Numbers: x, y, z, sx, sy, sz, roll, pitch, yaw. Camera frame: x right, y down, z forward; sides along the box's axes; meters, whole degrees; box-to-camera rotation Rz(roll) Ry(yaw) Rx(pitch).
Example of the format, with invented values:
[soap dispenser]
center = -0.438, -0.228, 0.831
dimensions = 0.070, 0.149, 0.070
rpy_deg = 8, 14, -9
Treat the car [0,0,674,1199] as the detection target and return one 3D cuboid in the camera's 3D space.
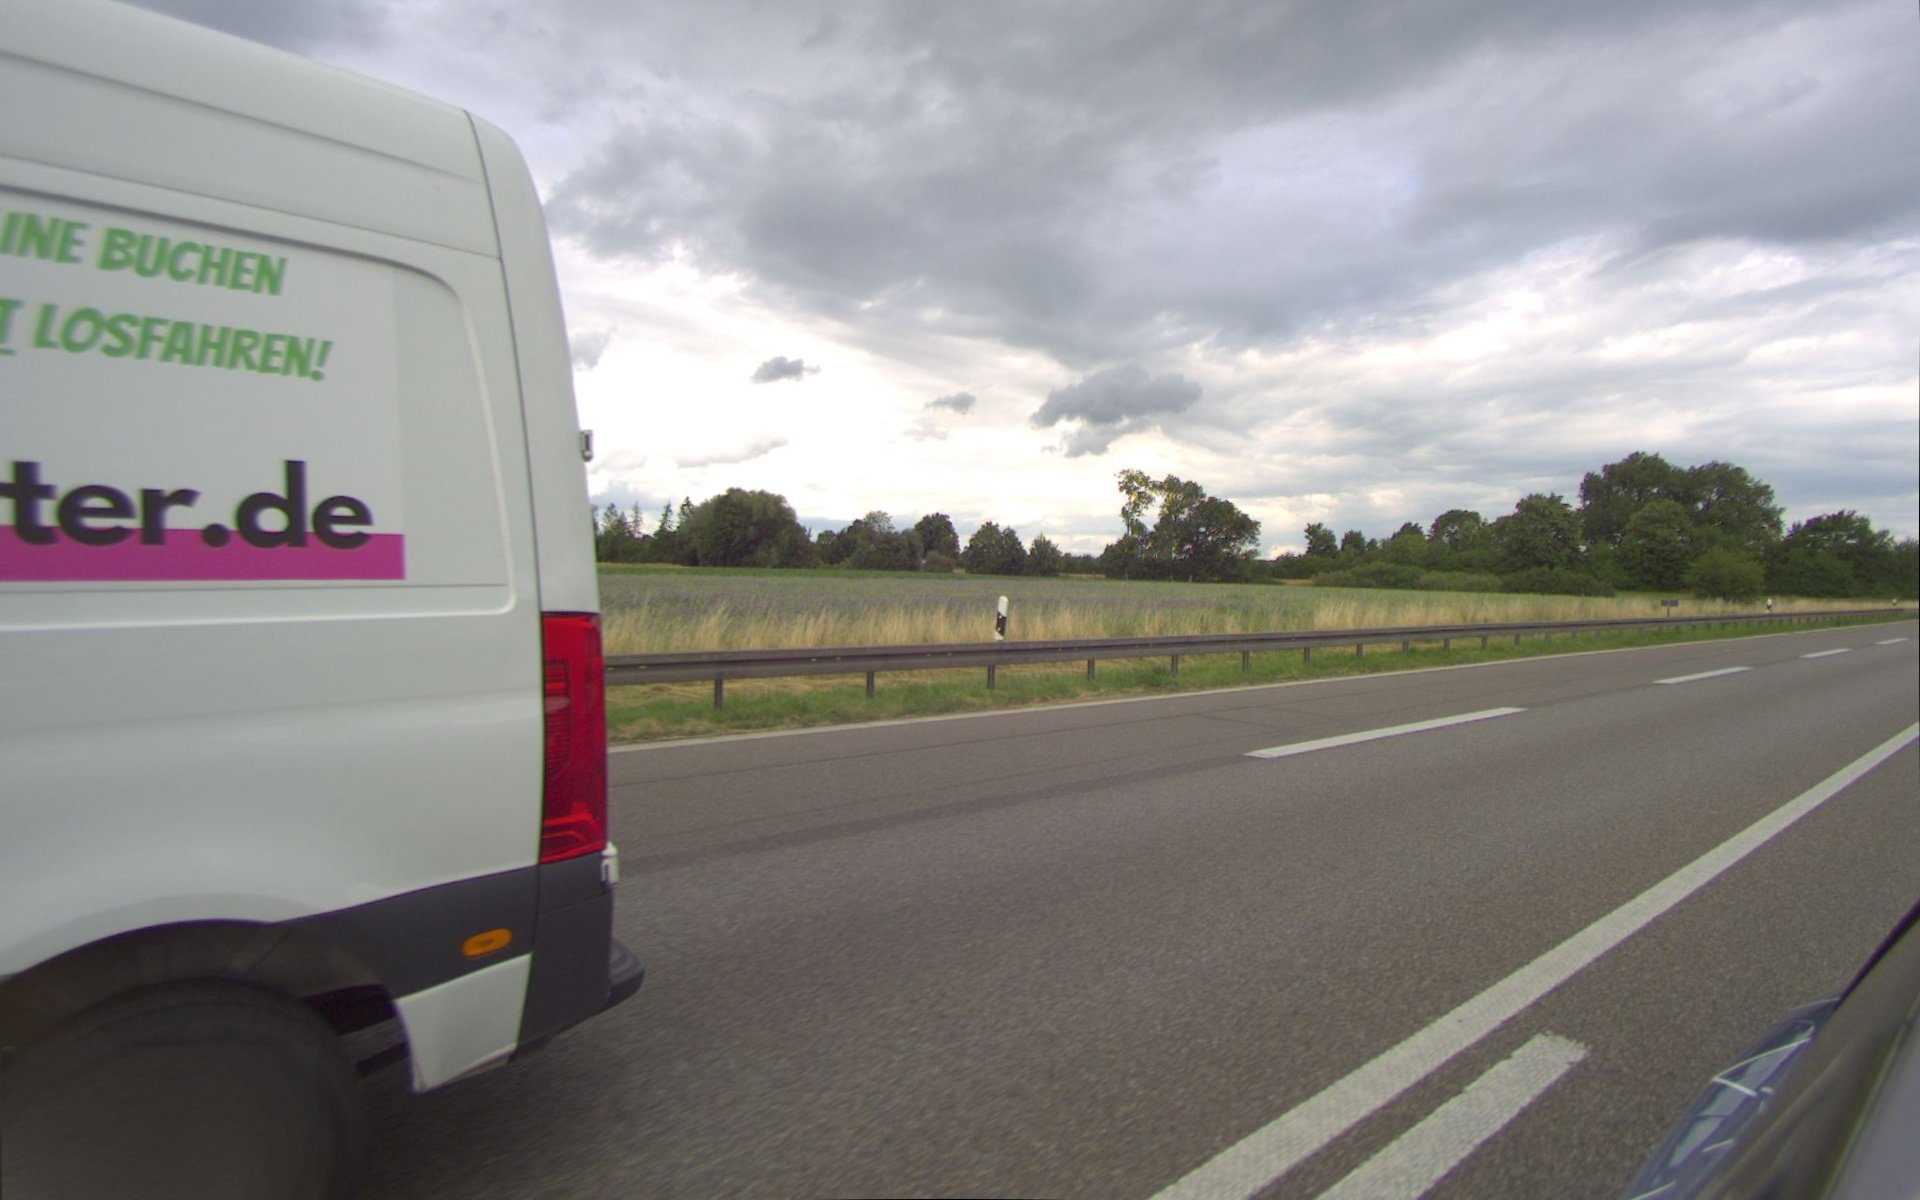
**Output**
[car]
center = -3.724, 0.065, 1.214
dimensions = 6.145, 2.600, 2.226
rpy_deg = 0, 1, -40
